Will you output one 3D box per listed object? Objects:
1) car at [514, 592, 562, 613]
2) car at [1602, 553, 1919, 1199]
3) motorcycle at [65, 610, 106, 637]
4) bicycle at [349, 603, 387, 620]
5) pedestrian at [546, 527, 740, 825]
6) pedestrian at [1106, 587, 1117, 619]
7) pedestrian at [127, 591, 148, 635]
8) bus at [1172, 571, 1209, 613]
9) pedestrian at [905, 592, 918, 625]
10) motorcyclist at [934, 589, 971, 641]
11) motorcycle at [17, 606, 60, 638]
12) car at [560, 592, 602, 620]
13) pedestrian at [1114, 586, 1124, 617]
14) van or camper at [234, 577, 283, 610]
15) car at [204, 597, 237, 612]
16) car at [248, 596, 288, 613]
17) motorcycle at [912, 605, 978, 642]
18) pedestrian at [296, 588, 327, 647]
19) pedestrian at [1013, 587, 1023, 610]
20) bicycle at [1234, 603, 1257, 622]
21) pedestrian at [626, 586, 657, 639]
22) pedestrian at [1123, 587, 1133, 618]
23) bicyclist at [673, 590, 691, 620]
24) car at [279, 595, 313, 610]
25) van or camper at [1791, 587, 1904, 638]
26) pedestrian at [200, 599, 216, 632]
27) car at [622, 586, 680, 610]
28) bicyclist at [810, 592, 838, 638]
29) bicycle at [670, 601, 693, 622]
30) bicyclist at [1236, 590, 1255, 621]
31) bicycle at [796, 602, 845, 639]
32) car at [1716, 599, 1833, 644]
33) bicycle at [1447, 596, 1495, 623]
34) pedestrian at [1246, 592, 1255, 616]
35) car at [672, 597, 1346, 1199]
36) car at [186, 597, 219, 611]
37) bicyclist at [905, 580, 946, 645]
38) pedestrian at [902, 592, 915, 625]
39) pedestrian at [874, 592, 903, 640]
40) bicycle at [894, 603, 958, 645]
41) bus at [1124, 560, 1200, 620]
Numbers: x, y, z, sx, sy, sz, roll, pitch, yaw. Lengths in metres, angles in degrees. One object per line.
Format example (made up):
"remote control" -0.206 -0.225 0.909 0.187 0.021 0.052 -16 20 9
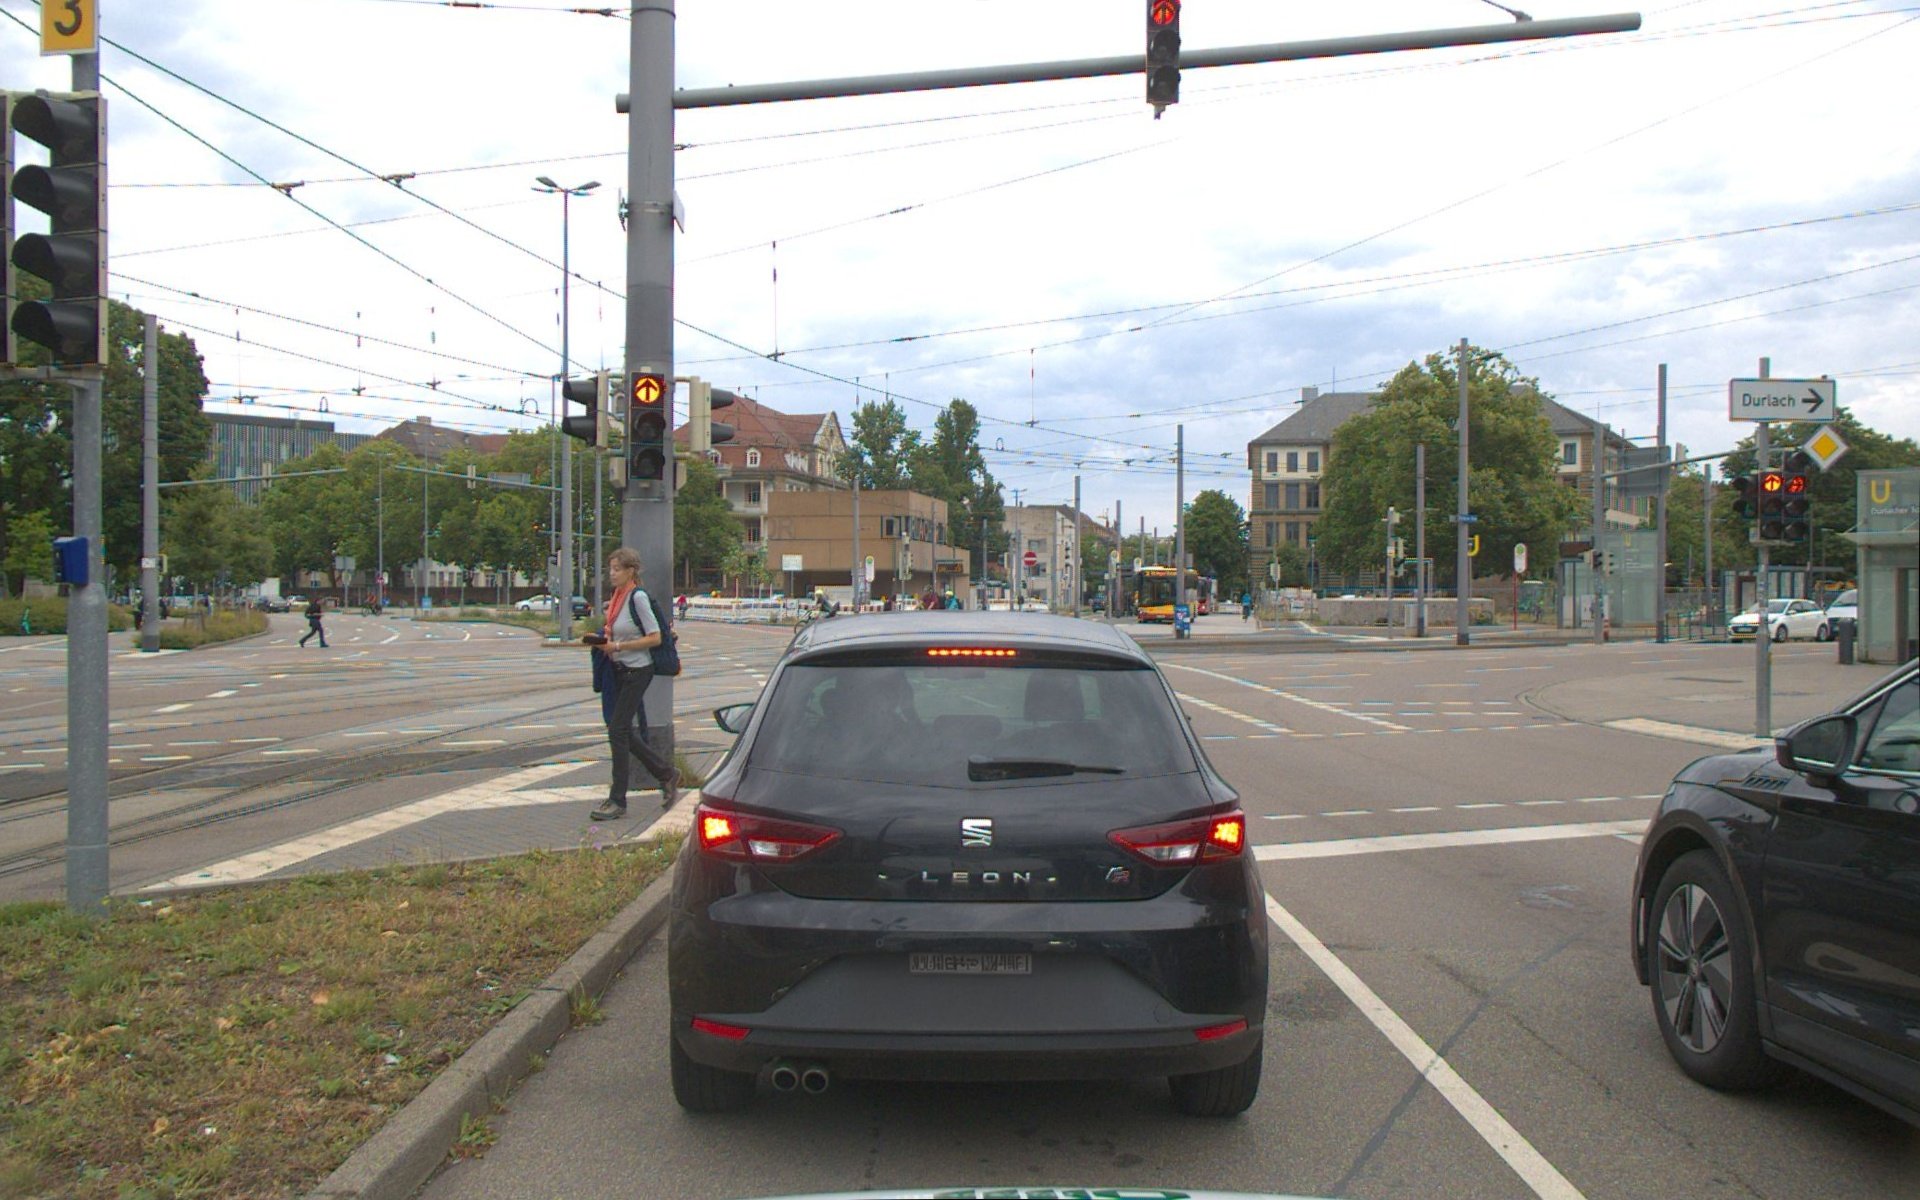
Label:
"car" -35.770 0.195 140.238 3.922 1.803 1.709 0 0 -16
"car" 3.271 0.701 3.775 1.741 1.625 4.508 0 0 -2
"motorcycle" -36.974 0.982 69.947 0.499 1.130 1.746 0 0 12
"bicycle" -43.325 0.846 121.111 0.921 1.199 2.726 0 0 28
"pedestrian" -2.184 0.501 11.419 1.096 1.940 0.724 1 -1 -44
"pedestrian" 9.538 0.189 104.229 0.608 1.951 0.699 0 0 9
"pedestrian" -38.289 0.606 77.000 0.787 2.016 0.870 1 -2 -35
"bus" 19.159 -0.668 136.966 2.597 3.340 11.004 0 0 10
"pedestrian" -2.871 0.499 97.321 0.693 1.951 0.624 0 0 7
"motorcyclist" -0.238 0.491 54.345 0.968 1.678 0.741 0 -1 -34
"motorcycle" -37.893 0.880 68.005 0.503 1.290 1.463 0 0 43
"car" -23.946 0.380 104.391 1.966 1.713 3.973 0 -1 -22
"pedestrian" 10.181 0.076 105.708 0.608 1.951 0.711 0 0 2
"van or camper" -69.249 -0.623 163.191 5.403 3.179 2.382 0 0 41
"car" -75.358 0.436 168.556 3.932 1.489 1.770 1 1 44
"car" -59.571 0.382 142.391 3.930 1.489 1.770 0 0 43
"motorcycle" -0.474 0.754 54.190 2.115 1.159 0.735 0 0 -34
"pedestrian" -22.758 0.612 58.051 1.006 2.049 0.841 0 0 -20
"pedestrian" 4.847 -0.112 138.571 0.609 1.952 0.710 -1 -1 25
"bicycle" 17.472 0.758 101.270 0.849 1.124 2.299 0 0 -5
"pedestrian" -11.922 0.478 61.953 1.015 1.968 0.695 0 0 -26
"pedestrian" 10.658 0.186 104.728 0.608 1.951 0.699 0 0 9
"bicyclist" -16.552 0.316 98.530 0.870 1.762 0.888 0 0 -22
"car" -66.032 0.223 164.422 1.769 1.489 3.934 0 1 -45
"van or camper" 32.119 0.460 59.847 4.257 1.773 1.974 0 -1 -36
"pedestrian" -47.066 0.969 103.540 0.865 2.016 0.791 0 -1 -19
"car" -22.887 -0.129 122.688 3.905 1.713 2.000 0 -1 0
"bicyclist" -5.013 0.550 60.866 0.843 1.702 0.649 0 0 -25
"bicycle" -16.631 0.674 98.771 0.879 1.199 2.286 0 0 -22
"bicyclist" 17.473 0.324 101.259 0.854 1.884 1.046 0 0 -6
"bicycle" -5.133 0.741 60.821 1.708 1.345 0.640 0 0 -25
"car" 27.504 0.723 55.814 3.948 1.490 1.756 0 -1 -32
"bicycle" 25.528 0.485 82.642 2.214 1.354 0.707 -1 -1 6
"pedestrian" 24.214 0.324 137.978 0.648 2.049 0.691 0 0 -1
"car" -0.015 0.733 5.983 1.671 1.474 3.808 0 0 -5
"car" -80.699 0.428 176.157 3.926 1.489 1.772 1 1 41
"bicyclist" -1.024 0.365 49.750 0.764 1.931 0.990 0 0 43
"pedestrian" -2.988 0.486 96.523 0.693 1.951 0.624 0 0 7
"pedestrian" -2.939 0.650 68.333 0.687 1.968 1.026 0 0 38
"bicycle" -1.007 0.709 49.753 0.764 1.205 2.019 0 0 43
"bus" 11.558 -0.532 93.637 2.897 3.178 11.548 0 0 14
